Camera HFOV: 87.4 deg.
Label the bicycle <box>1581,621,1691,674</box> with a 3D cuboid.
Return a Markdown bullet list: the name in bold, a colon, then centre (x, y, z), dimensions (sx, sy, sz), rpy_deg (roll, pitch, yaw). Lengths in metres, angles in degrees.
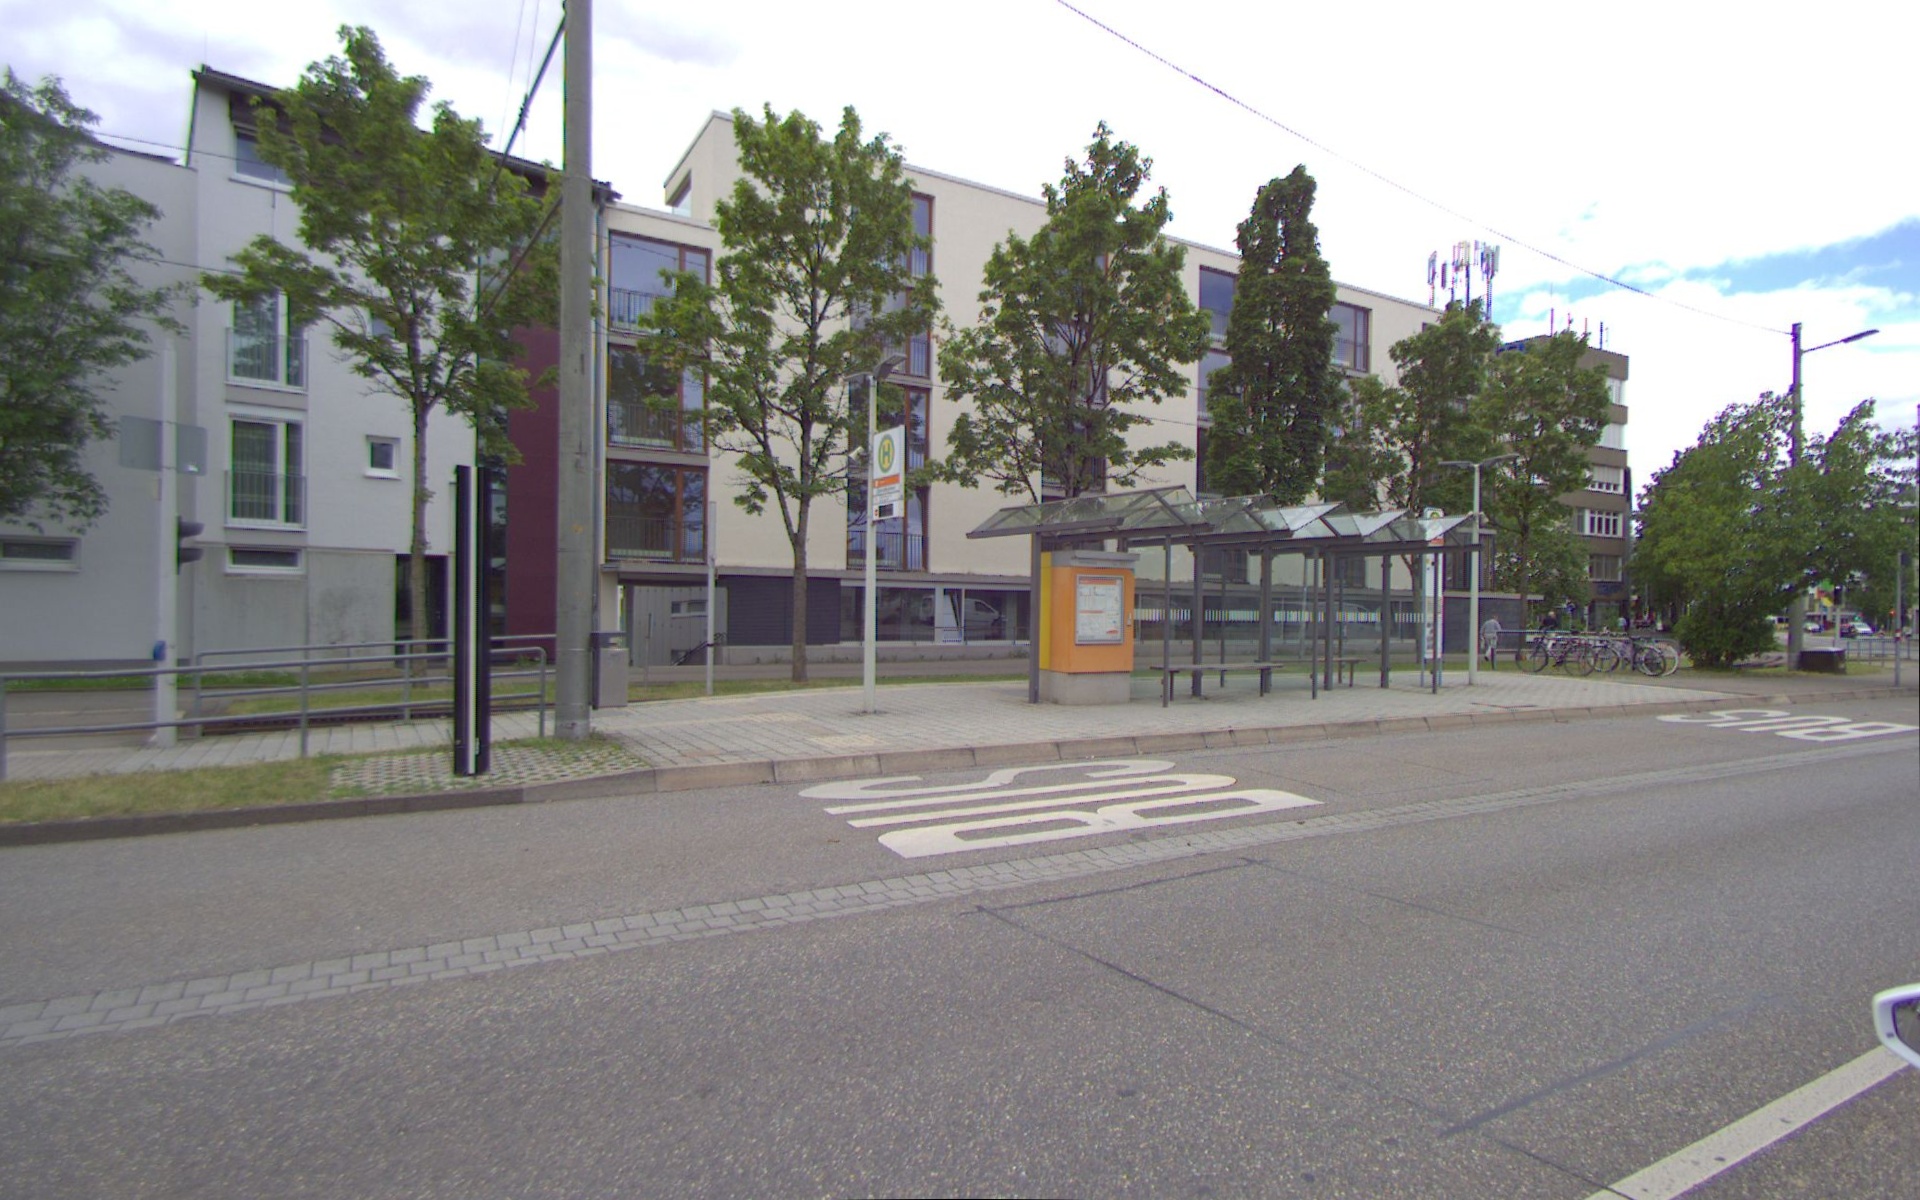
- **bicycle**: centre (15.932, 1.095, 23.739), dimensions (0.624, 1.121, 2.090), rpy_deg (1, 1, -28)

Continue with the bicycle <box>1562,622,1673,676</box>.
- **bicycle**: centre (15.262, 1.107, 23.369), dimensions (0.624, 1.121, 2.089), rpy_deg (1, 1, -29)

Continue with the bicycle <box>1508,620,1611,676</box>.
- **bicycle**: centre (13.308, 1.044, 22.356), dimensions (0.580, 1.121, 1.920), rpy_deg (1, 1, -29)

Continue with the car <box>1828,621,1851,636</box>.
- **car**: centre (95.591, 3.088, 109.147), dimensions (1.878, 1.506, 3.979), rpy_deg (0, -1, 41)

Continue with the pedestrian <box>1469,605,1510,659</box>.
- **pedestrian**: centre (18.262, 1.116, 34.650), dimensions (0.896, 1.788, 0.826), rpy_deg (2, 2, -30)

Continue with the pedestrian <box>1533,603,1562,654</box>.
- **pedestrian**: centre (24.222, 1.162, 41.419), dimensions (0.758, 2.041, 0.886), rpy_deg (4, 2, 41)
